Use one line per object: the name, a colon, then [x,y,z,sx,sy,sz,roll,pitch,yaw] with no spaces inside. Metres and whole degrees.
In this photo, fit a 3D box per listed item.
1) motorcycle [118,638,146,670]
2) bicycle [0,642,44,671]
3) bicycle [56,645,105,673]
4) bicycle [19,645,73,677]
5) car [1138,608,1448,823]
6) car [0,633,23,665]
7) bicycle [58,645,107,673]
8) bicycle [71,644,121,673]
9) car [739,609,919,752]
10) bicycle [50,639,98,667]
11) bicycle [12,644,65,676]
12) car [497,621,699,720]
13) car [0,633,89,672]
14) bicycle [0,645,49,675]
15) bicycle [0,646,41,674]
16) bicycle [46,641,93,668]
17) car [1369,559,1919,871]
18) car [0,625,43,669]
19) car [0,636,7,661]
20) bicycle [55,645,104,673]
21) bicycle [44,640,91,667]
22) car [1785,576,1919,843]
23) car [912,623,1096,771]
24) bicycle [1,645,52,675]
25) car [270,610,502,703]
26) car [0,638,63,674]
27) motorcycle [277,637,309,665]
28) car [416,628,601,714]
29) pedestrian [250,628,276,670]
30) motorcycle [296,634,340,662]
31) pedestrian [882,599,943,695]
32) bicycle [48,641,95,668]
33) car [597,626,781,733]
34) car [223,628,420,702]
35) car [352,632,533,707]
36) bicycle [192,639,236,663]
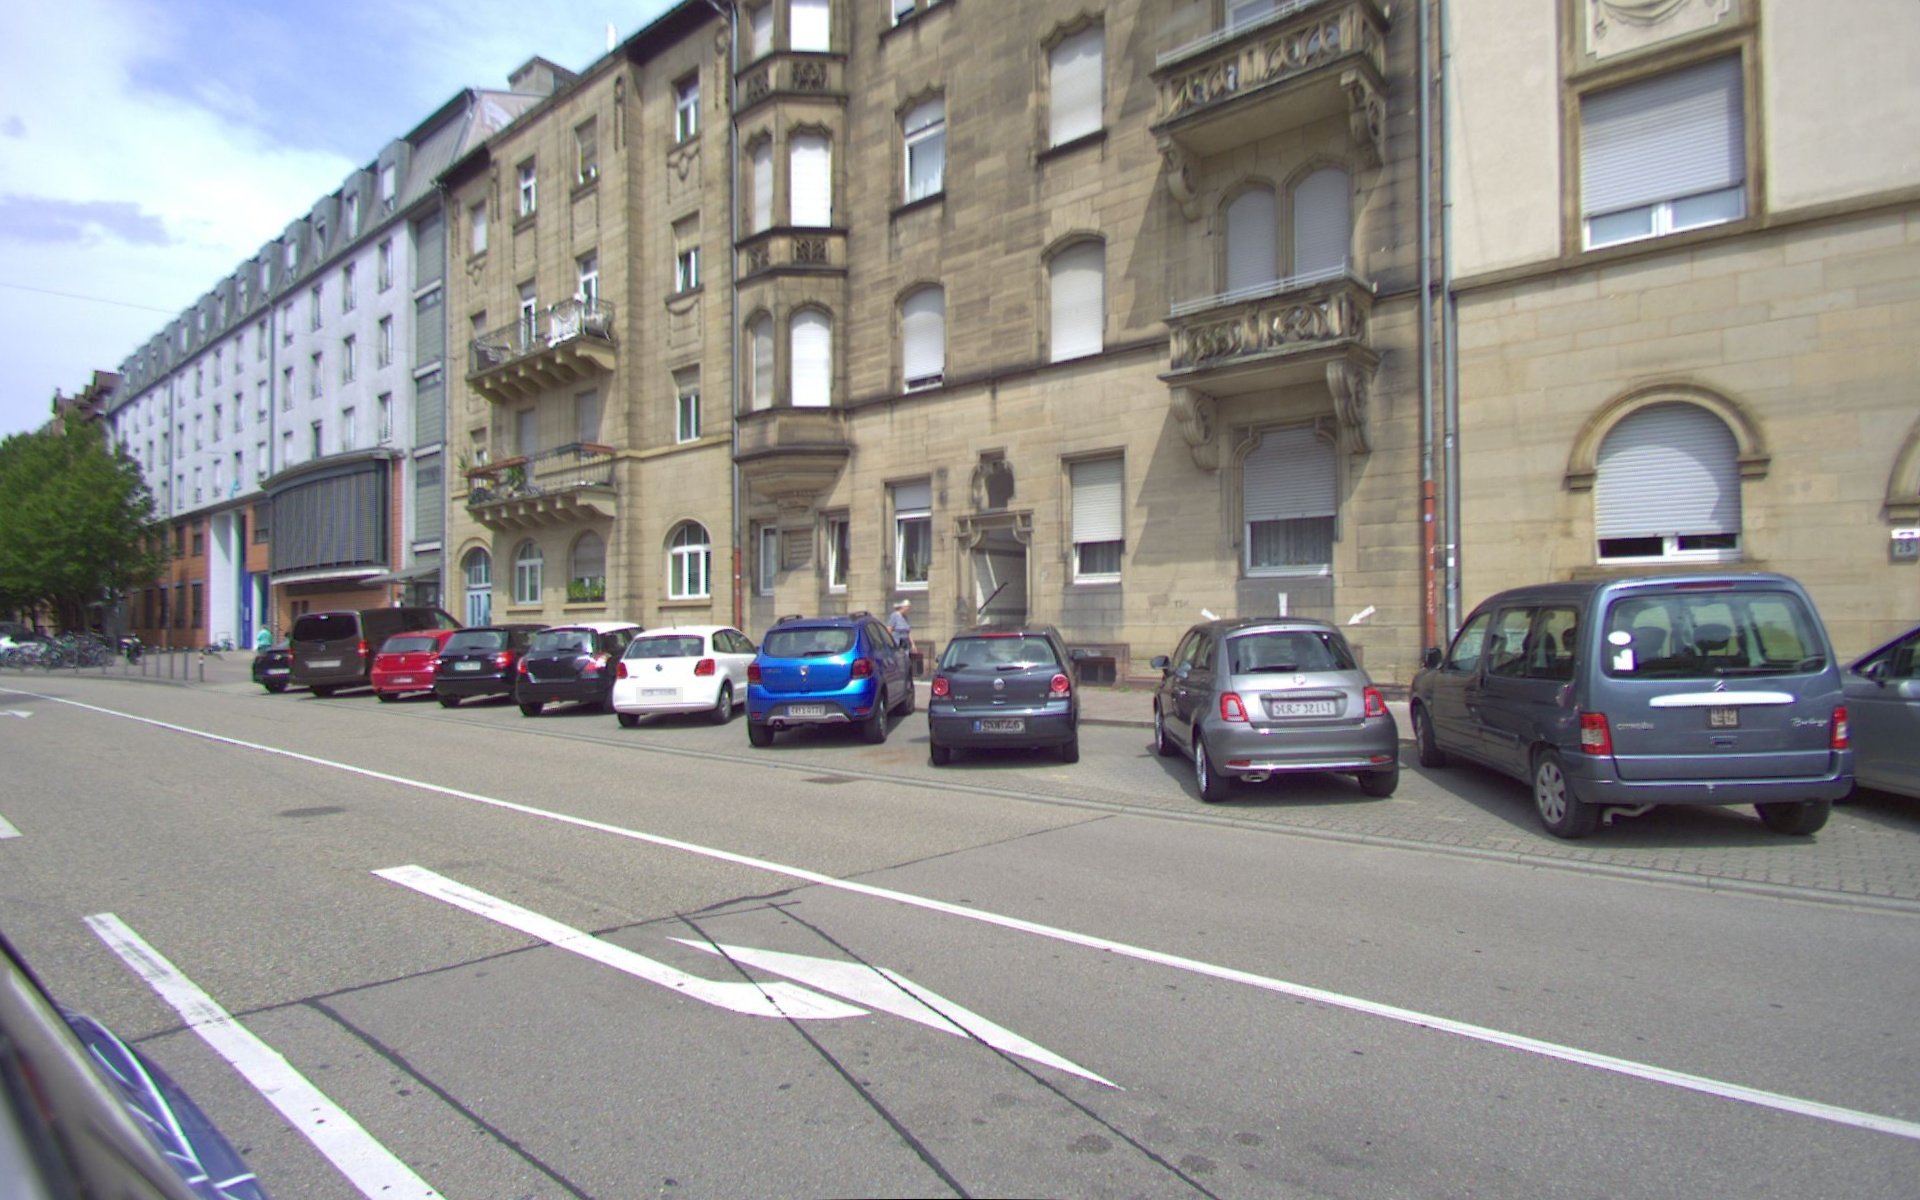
motorcycle: [-32.099,2.078,39.211,1.779,1.181,0.577,-2,-1,43]
bicycle: [-36.968,2.209,39.771,0.402,1.034,1.391,-2,0,42]
bicycle: [-33.944,2.277,39.078,0.402,1.034,1.391,-2,-2,42]
bicycle: [-33.205,2.213,36.773,0.402,1.046,1.391,-2,0,42]
car: [2.946,0.962,9.914,1.772,1.664,4.010,-1,-2,2]
car: [-50.307,2.517,51.295,1.692,1.627,3.997,-2,-2,7]
bicycle: [-33.553,2.251,38.710,0.402,1.034,1.391,-2,-2,42]
bicycle: [-32.482,2.200,38.054,0.402,1.034,1.391,-2,-2,42]
car: [-1.623,0.997,13.776,1.702,1.664,3.773,-1,-2,4]
bicycle: [-34.947,2.089,39.918,0.402,1.034,1.391,-2,-2,42]
bicycle: [-33.934,2.203,37.294,0.402,1.046,1.391,-2,0,42]
car: [-6.351,1.197,18.270,1.776,1.576,4.001,-1,-2,8]
car: [-39.413,2.203,42.717,1.583,1.557,3.998,-1,-2,6]
bicycle: [-36.009,2.300,38.930,0.402,1.034,1.391,-2,0,42]
bicycle: [-37.569,2.389,40.303,0.402,1.034,1.391,-2,0,42]
bicycle: [-35.815,2.196,40.712,0.402,1.034,1.391,-2,-2,42]
car: [4.983,0.760,8.187,1.772,1.893,4.010,-1,-2,2]
car: [-46.085,2.270,47.692,1.841,2.013,3.994,-1,0,9]
car: [-54.523,2.688,54.925,1.577,1.400,3.997,-2,-2,7]
bicycle: [-34.289,2.285,39.423,0.402,1.034,1.391,-2,-2,42]
bicycle: [-36.249,2.165,41.114,0.402,1.034,1.391,-2,-2,42]
car: [7.295,0.699,5.852,1.772,1.787,4.010,-1,-2,2]
car: [0.585,1.020,12.010,1.814,1.454,3.897,-1,-2,5]
bicycle: [-35.522,2.263,38.514,0.402,1.046,1.391,-2,0,42]
car: [-13.278,1.267,23.918,2.095,1.924,5.260,-1,-2,6]
car: [-41.719,2.423,43.826,1.697,1.480,4.307,-1,-2,7]
motorcycle: [-26.671,2.042,40.446,1.655,1.057,0.578,-2,-1,40]
car: [-8.786,1.332,20.077,1.611,1.514,3.990,-1,-2,5]
pedestrian: [-24.978,1.750,36.275,0.508,1.497,0.653,-2,-2,39]
motorcycle: [-24.777,1.860,39.048,1.959,1.057,0.579,-2,-1,30]
pedestrian: [-0.827,0.810,17.807,0.678,1.607,0.783,-2,0,40]
bicycle: [-35.314,2.149,40.233,0.402,1.034,1.391,-2,-2,42]
car: [-4.157,1.172,16.131,1.720,1.493,3.680,-1,-2,4]
car: [-15.814,1.547,25.428,1.874,1.420,4.669,-2,1,2]
car: [-10.925,1.417,21.714,1.772,1.420,4.010,-1,-2,2]
bicycle: [-35.046,2.389,47.527,1.590,0.933,0.933,-6,2,-38]
